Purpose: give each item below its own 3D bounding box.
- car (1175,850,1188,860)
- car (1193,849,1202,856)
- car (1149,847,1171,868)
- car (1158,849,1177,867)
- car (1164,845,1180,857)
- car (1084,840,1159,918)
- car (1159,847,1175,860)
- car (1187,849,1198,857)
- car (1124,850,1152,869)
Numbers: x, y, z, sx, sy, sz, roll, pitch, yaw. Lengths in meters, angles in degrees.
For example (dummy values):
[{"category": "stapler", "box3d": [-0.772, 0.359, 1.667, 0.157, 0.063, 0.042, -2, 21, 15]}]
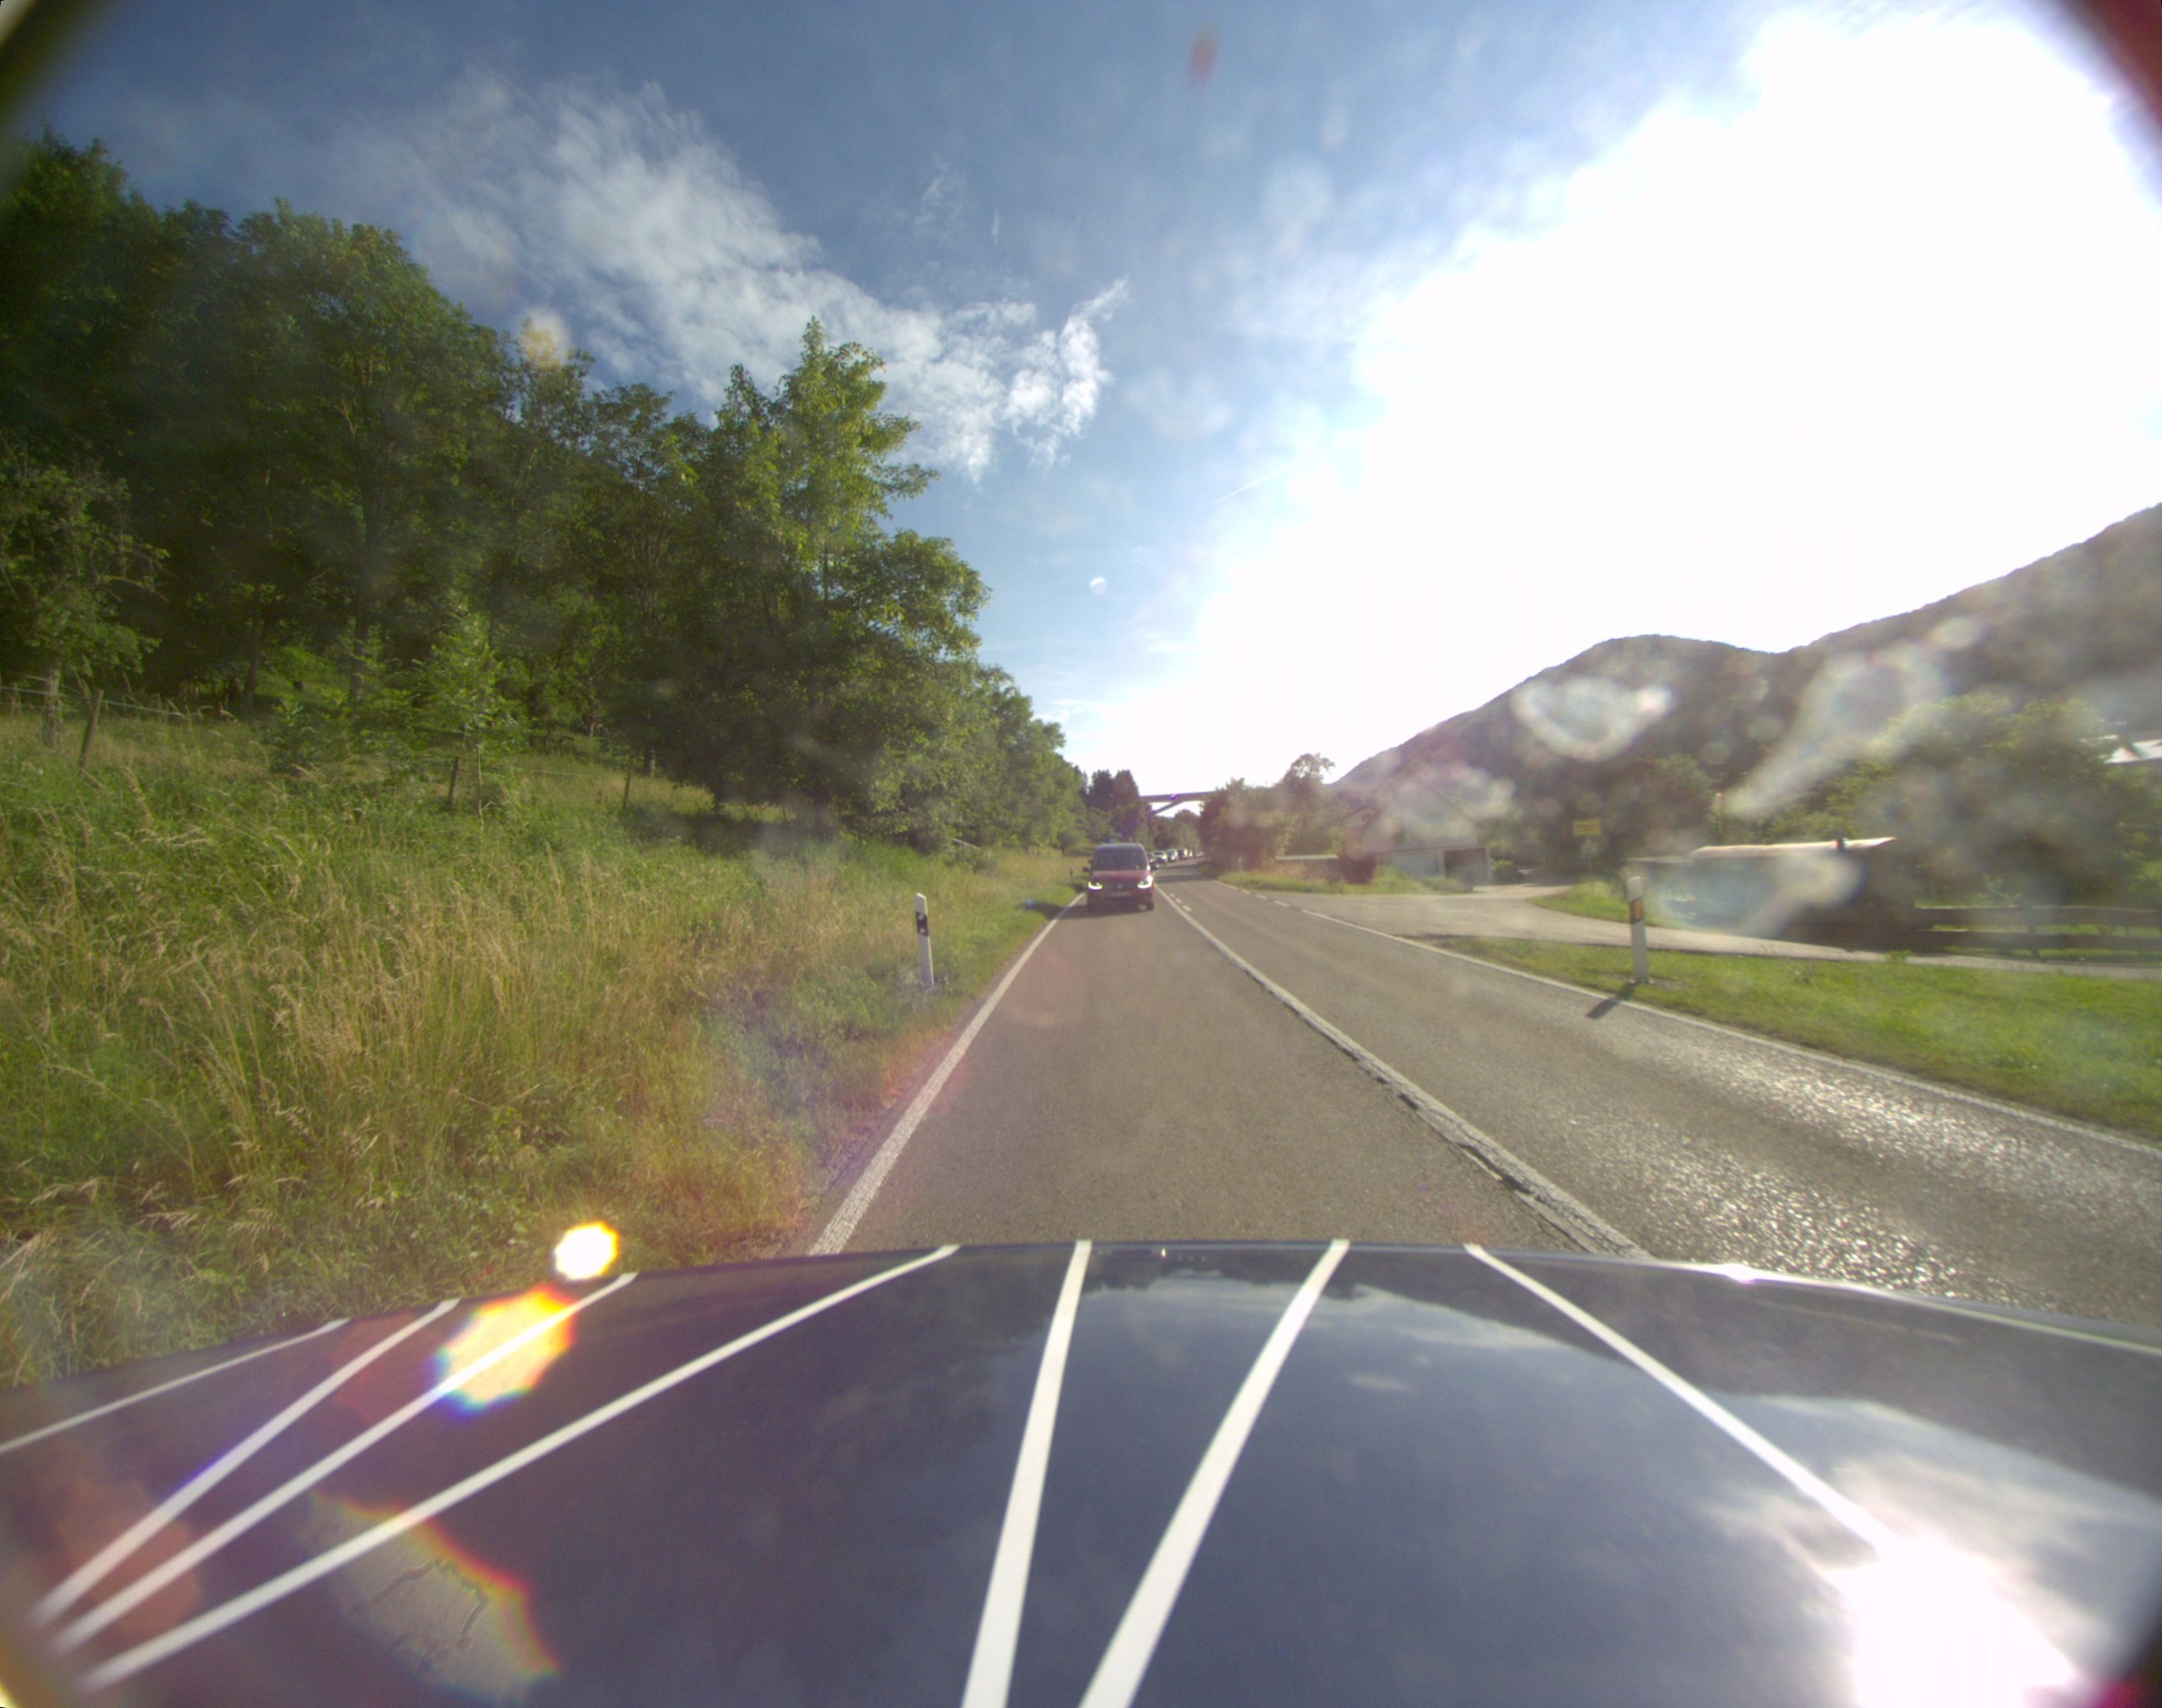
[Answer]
[{"category": "car", "box3d": [16.451, 0.102, 123.778, 1.817, 1.608, 4.003, 0, 0, 11]}, {"category": "car", "box3d": [25.938, -0.324, 168.846, 1.840, 1.543, 4.181, 0, 0, 12]}, {"category": "car", "box3d": [7.738, 0.356, 74.060, 1.913, 2.002, 4.002, 0, 1, 8]}, {"category": "car", "box3d": [9.804, 0.458, 85.524, 1.913, 2.002, 4.003, 0, 1, 9]}, {"category": "car", "box3d": [13.335, -0.449, 111.152, 1.817, 1.608, 4.003, -1, 1, 12]}, {"category": "car", "box3d": [1.109, 0.625, 21.065, 1.772, 1.855, 3.875, -4, 0, 3]}, {"category": "car", "box3d": [11.481, -0.050, 101.405, 1.840, 1.544, 4.178, 0, 3, 10]}, {"category": "car", "box3d": [22.175, -0.180, 150.626, 1.840, 1.543, 4.181, 0, 0, 12]}, {"category": "car", "box3d": [4.776, 0.451, 63.155, 1.840, 1.543, 4.181, 0, 0, 10]}]
